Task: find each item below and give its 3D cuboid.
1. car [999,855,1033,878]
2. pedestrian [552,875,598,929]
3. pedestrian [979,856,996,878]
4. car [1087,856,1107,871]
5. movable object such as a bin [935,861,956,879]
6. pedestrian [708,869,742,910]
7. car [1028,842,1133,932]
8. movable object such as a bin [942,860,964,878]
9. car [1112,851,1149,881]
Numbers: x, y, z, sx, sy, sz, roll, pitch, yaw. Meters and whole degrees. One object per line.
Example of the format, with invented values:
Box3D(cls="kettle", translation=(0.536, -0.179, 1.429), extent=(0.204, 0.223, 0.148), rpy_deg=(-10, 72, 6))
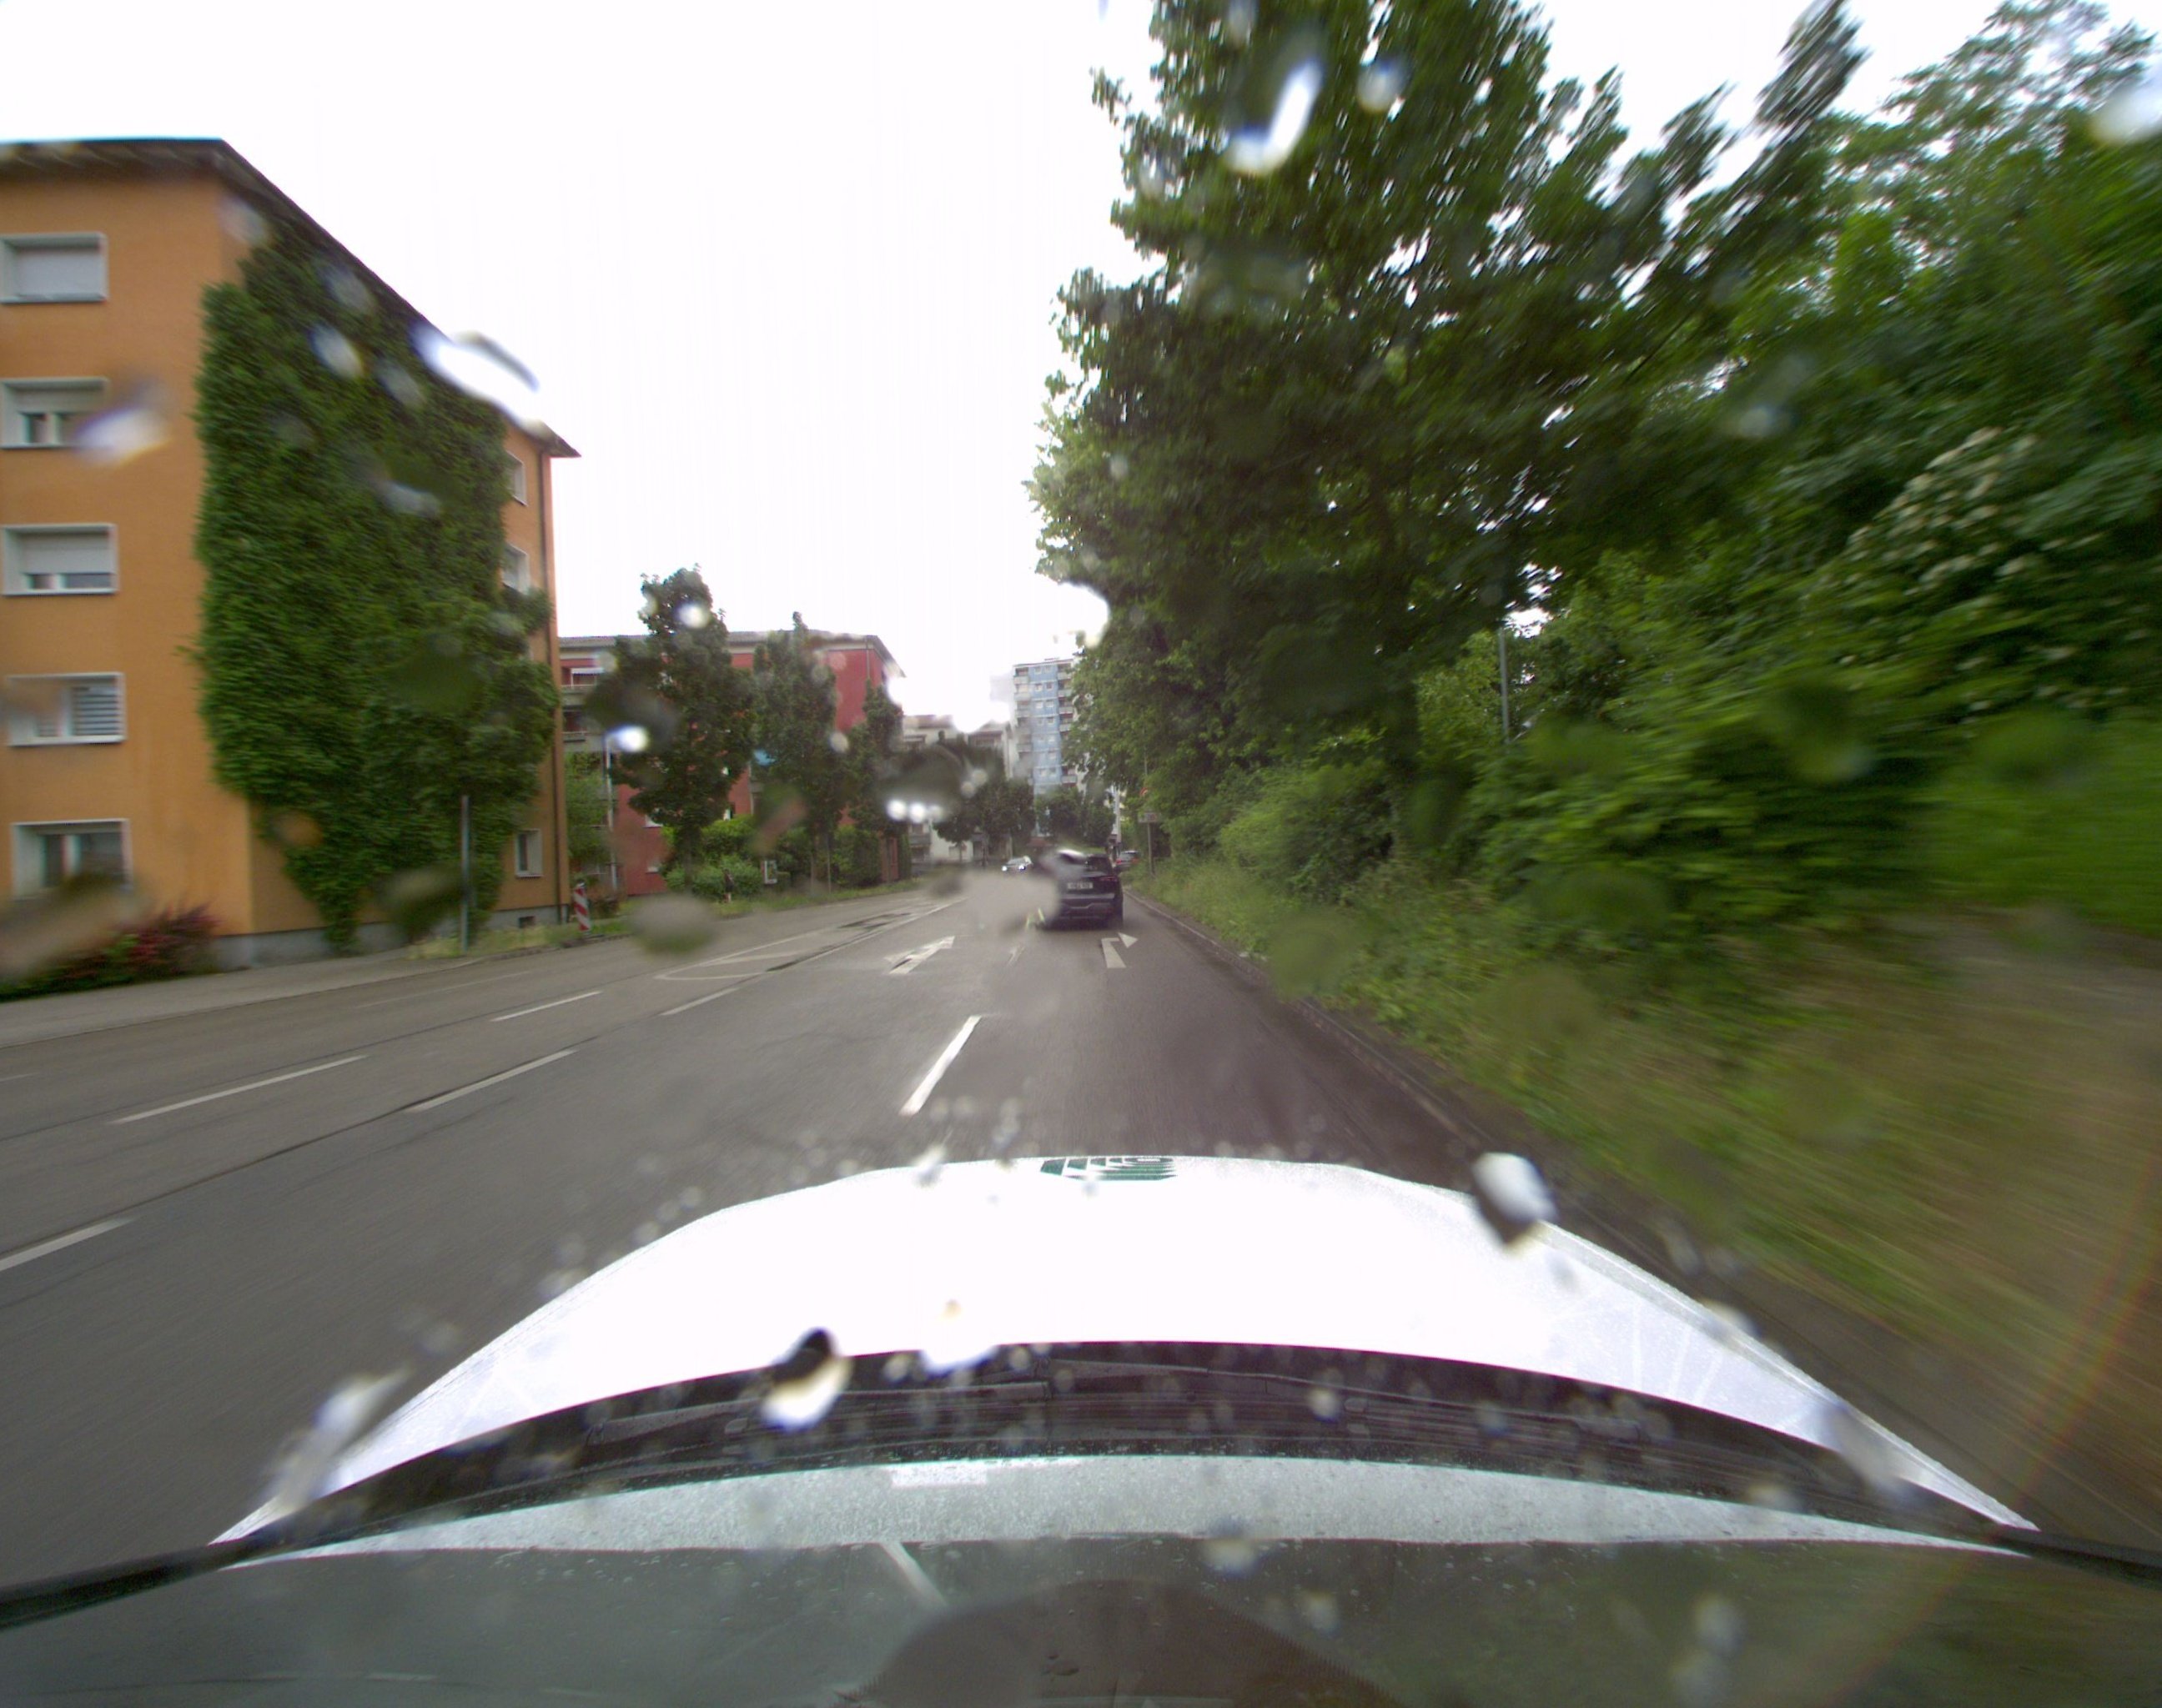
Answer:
Box3D(cls="car", translation=(-5.264, 1.019, 66.970), extent=(1.913, 1.631, 4.508), rpy_deg=(-5, 0, 5))
Box3D(cls="pedestrian", translation=(-14.156, 1.329, 22.800), extent=(0.668, 1.449, 0.836), rpy_deg=(-3, 0, 3))
Box3D(cls="pedestrian", translation=(-8.260, 1.137, 71.789), extent=(1.128, 1.804, 1.266), rpy_deg=(-3, 0, 8))
Box3D(cls="car", translation=(1.826, 0.995, 90.383), extent=(1.666, 1.562, 4.151), rpy_deg=(1, 1, 8))
Box3D(cls="movable object such as a bin", translation=(-11.125, 1.303, 67.057), extent=(1.151, 1.331, 1.970), rpy_deg=(-3, 0, 6))
Box3D(cls="pedestrian", translation=(-13.671, 1.355, 31.302), extent=(0.689, 1.517, 1.070), rpy_deg=(-3, 0, 3))
Box3D(cls="car", translation=(-0.133, 0.652, 18.023), extent=(1.956, 1.652, 3.994), rpy_deg=(-3, 0, -4))
Box3D(cls="movable object such as a bin", translation=(-10.875, 1.263, 69.225), extent=(1.209, 1.484, 2.091), rpy_deg=(-3, 0, 6))
Box3D(cls="car", translation=(3.665, 0.832, 59.625), extent=(1.980, 2.013, 4.013), rpy_deg=(-3, 0, 12))
